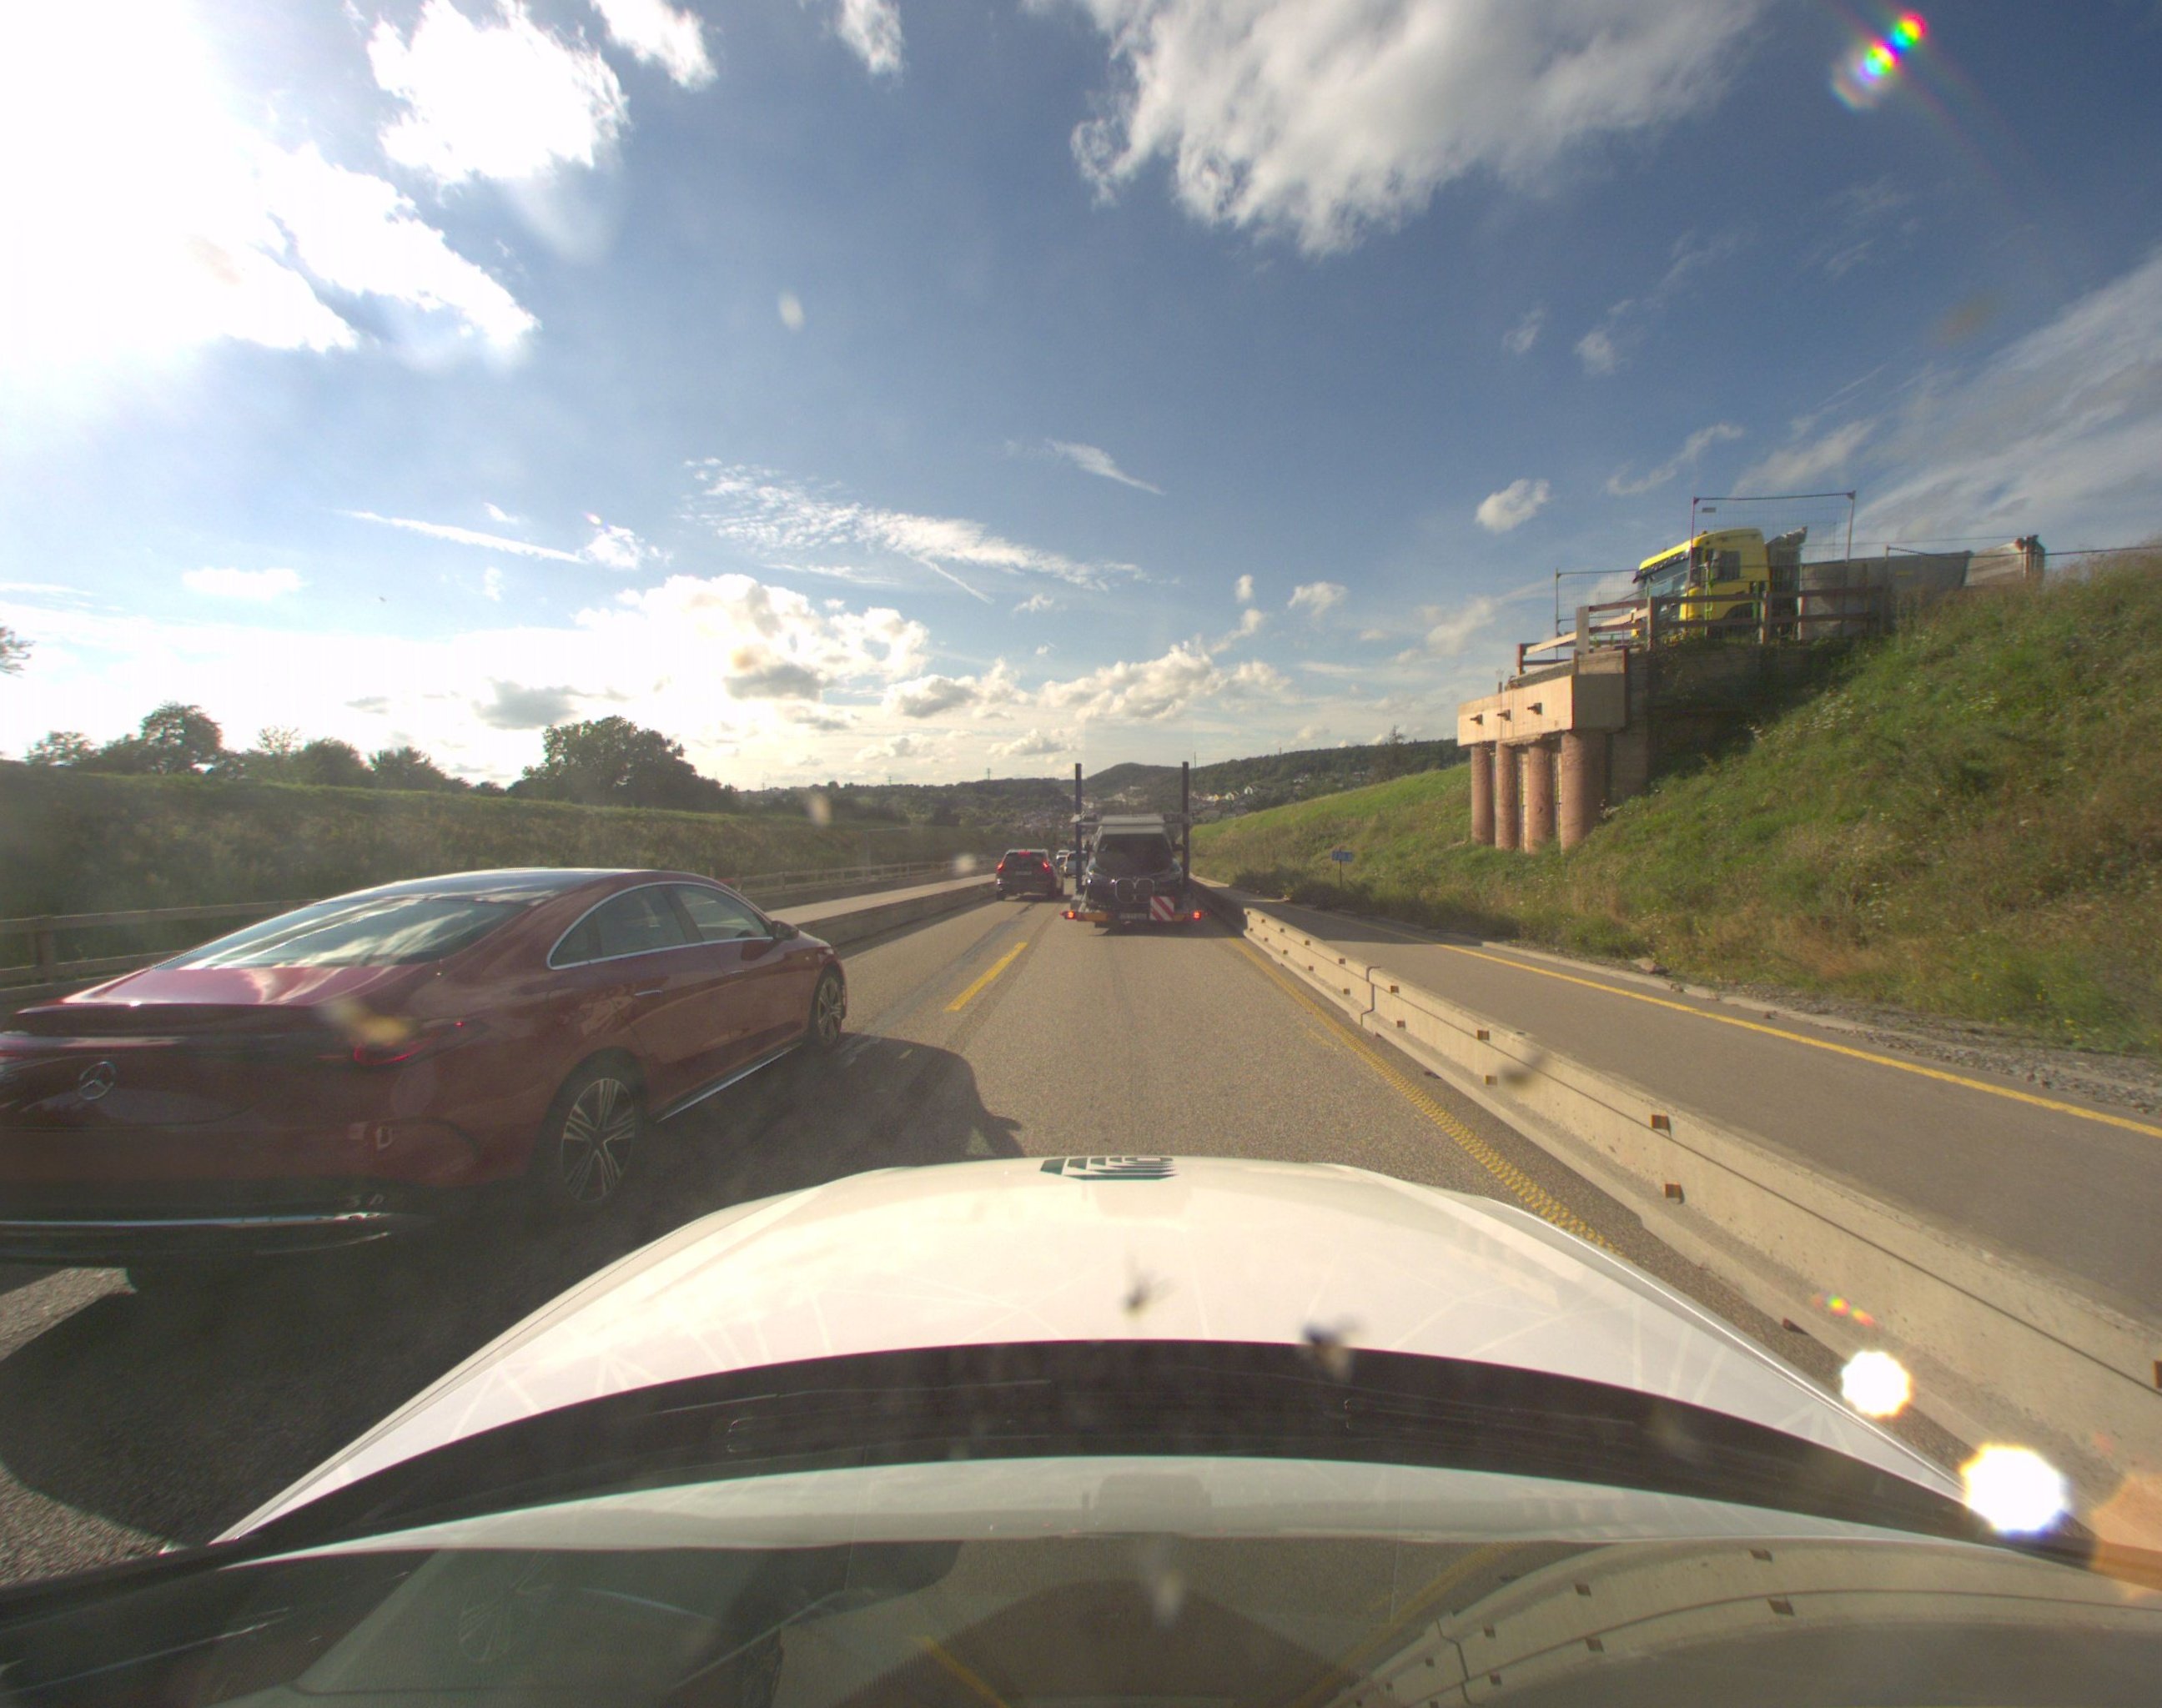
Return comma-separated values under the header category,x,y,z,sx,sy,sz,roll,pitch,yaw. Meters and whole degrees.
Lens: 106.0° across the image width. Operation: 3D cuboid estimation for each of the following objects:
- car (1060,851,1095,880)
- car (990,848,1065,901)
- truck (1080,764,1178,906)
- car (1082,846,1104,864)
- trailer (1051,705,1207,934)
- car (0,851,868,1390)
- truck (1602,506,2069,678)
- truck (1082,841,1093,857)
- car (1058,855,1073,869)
category,x,y,z,sx,sy,sz,roll,pitch,yaw
car,-0.167,0.651,49.660,1.789,1.596,4.747,-1,0,3
car,-1.675,0.613,27.348,1.985,1.625,4.753,0,0,2
truck,1.499,-0.542,25.944,2.667,3.922,6.032,-1,0,3
car,1.047,0.067,71.428,1.790,1.530,4.296,-2,0,1
trailer,1.278,-0.640,20.269,2.696,4.029,11.432,-1,0,4
car,-2.853,0.758,4.670,1.816,1.492,4.687,-1,1,2
truck,19.068,-6.608,21.047,9.230,3.227,2.960,-1,0,1
truck,1.834,-1.305,218.075,2.604,4.153,5.785,-1,0,3
car,-2.054,1.017,109.078,1.727,1.659,4.220,-4,1,2
